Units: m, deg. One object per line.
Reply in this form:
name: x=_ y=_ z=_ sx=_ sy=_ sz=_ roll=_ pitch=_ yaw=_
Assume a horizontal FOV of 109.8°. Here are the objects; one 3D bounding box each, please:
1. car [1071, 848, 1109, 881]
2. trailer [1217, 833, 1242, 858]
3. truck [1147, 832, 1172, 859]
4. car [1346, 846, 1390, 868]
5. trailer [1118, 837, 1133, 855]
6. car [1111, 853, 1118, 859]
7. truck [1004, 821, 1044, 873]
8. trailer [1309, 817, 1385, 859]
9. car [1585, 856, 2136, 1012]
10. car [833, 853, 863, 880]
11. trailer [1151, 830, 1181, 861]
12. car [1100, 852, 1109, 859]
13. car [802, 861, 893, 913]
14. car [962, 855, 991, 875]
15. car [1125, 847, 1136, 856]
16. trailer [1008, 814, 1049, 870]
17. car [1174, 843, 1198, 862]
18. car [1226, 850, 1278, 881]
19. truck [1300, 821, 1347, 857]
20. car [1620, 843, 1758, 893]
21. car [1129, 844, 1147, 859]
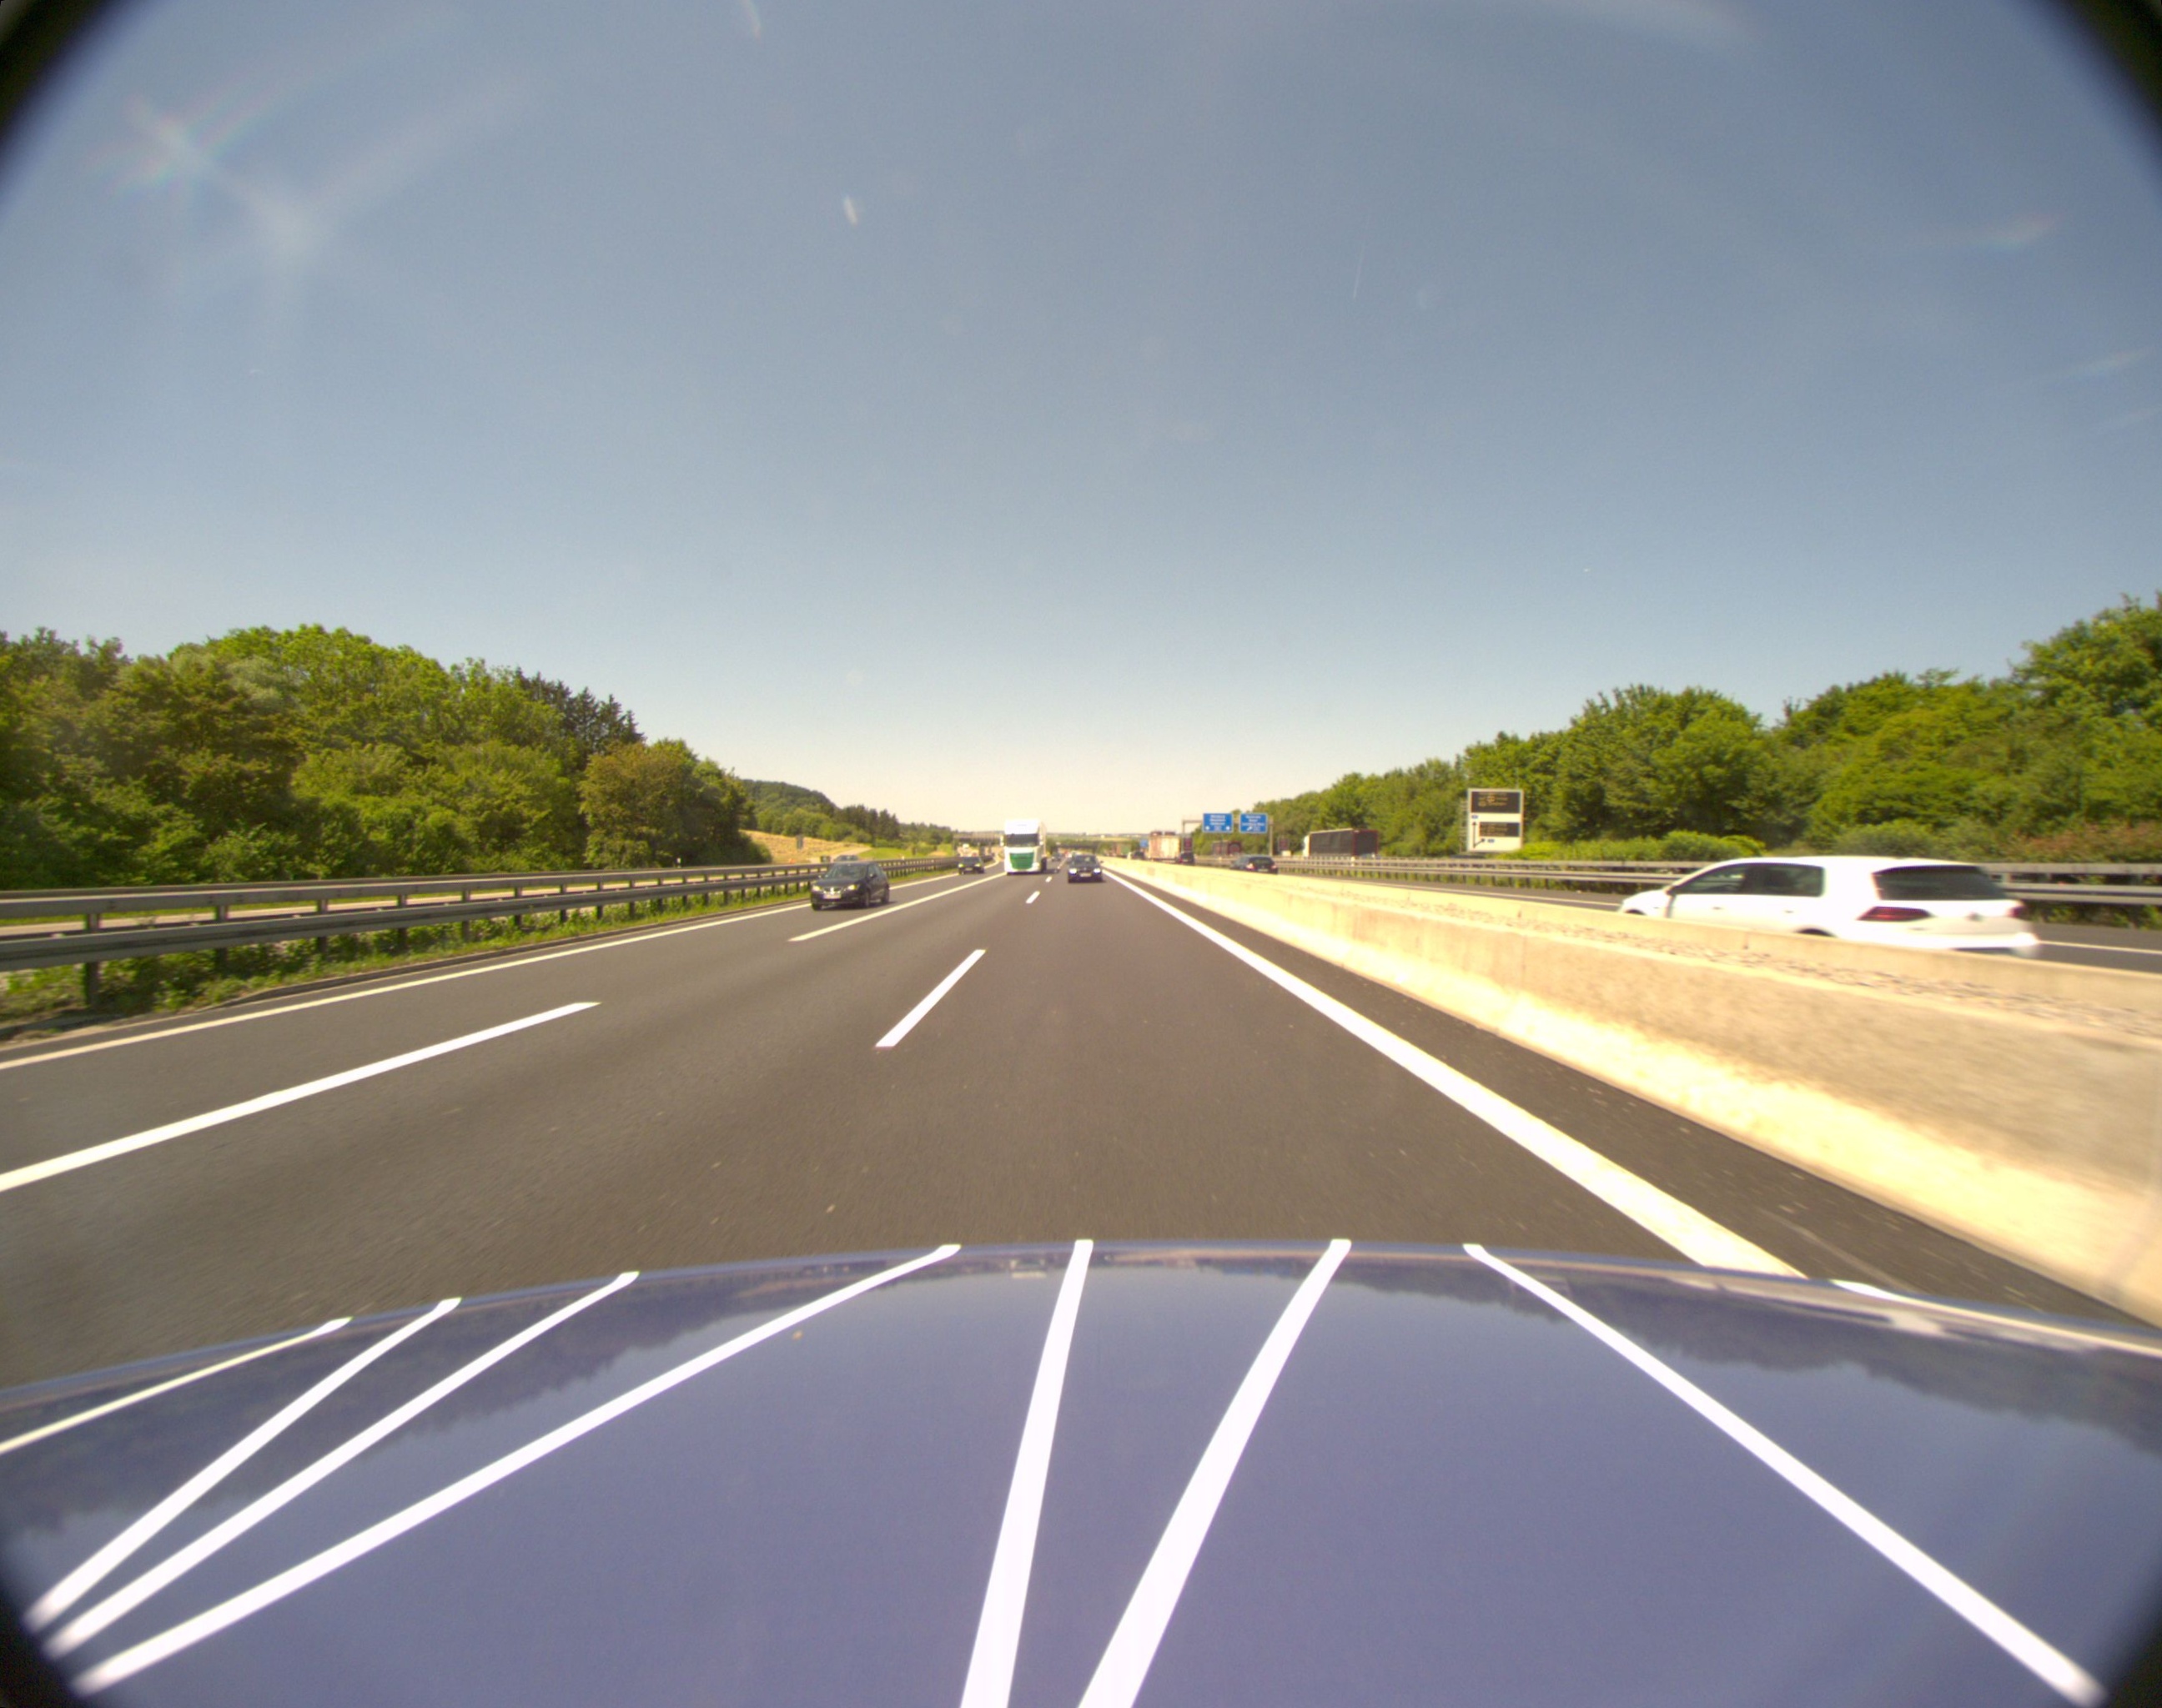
car: x=0.415 y=0.504 z=39.425 sx=1.799 sy=1.574 sz=3.999 roll=-1 pitch=1 yaw=-1
trailer: x=27.467 y=-1.545 z=141.275 sx=2.801 sy=4.408 sz=11.654 roll=-1 pitch=1 yaw=2
truck: x=11.964 y=-1.277 z=116.229 sx=2.936 sy=3.950 sz=5.897 roll=-1 pitch=1 yaw=-1
car: x=24.090 y=0.243 z=63.878 sx=1.999 sy=1.846 sz=4.429 roll=0 pitch=0 yaw=-1
trailer: x=11.107 y=-2.034 z=192.030 sx=2.674 sy=4.248 sz=13.811 roll=-1 pitch=1 yaw=-1
car: x=10.749 y=0.661 z=245.148 sx=1.923 sy=2.002 sz=5.345 roll=0 pitch=0 yaw=-1
truck: x=-4.103 y=-0.532 z=55.799 sx=2.649 sy=3.572 sz=4.402 roll=-1 pitch=1 yaw=-2
trailer: x=28.107 y=-1.646 z=81.240 sx=3.228 sy=4.022 sz=13.534 roll=-1 pitch=1 yaw=0
car: x=8.753 y=0.746 z=9.349 sx=1.998 sy=1.366 sz=4.662 roll=-1 pitch=0 yaw=0
car: x=-19.177 y=0.995 z=62.590 sx=2.001 sy=2.002 sz=3.995 roll=-2 pitch=1 yaw=-13
trailer: x=12.069 y=-1.229 z=108.930 sx=2.917 sy=4.022 sz=12.061 roll=-1 pitch=1 yaw=0
car: x=6.281 y=0.295 z=200.847 sx=1.989 sy=1.816 sz=4.825 roll=1 pitch=1 yaw=-2
car: x=-7.301 y=0.991 z=24.131 sx=1.781 sy=1.392 sz=3.760 roll=-1 pitch=1 yaw=-1
car: x=-8.478 y=0.882 z=62.028 sx=1.892 sy=1.464 sz=3.866 roll=-1 pitch=1 yaw=-2
car: x=10.505 y=-0.488 z=161.309 sx=1.746 sy=1.816 sz=4.901 roll=-1 pitch=1 yaw=-3
trailer: x=-4.292 y=-0.963 z=65.435 sx=2.663 sy=4.164 sz=14.891 roll=-1 pitch=0 yaw=-1
car: x=11.685 y=-0.214 z=84.822 sx=1.998 sy=2.002 sz=4.484 roll=-1 pitch=1 yaw=1
car: x=8.947 y=0.548 z=40.146 sx=1.733 sy=1.527 sz=4.613 roll=-1 pitch=0 yaw=1
truck: x=28.066 y=-1.730 z=88.171 sx=3.228 sy=4.022 sz=6.638 roll=-1 pitch=1 yaw=0
car: x=24.340 y=0.510 z=30.670 sx=1.999 sy=1.846 sz=4.429 roll=0 pitch=0 yaw=-1
car: x=7.947 y=-0.340 z=105.966 sx=2.056 sy=2.002 sz=4.954 roll=-1 pitch=1 yaw=0
